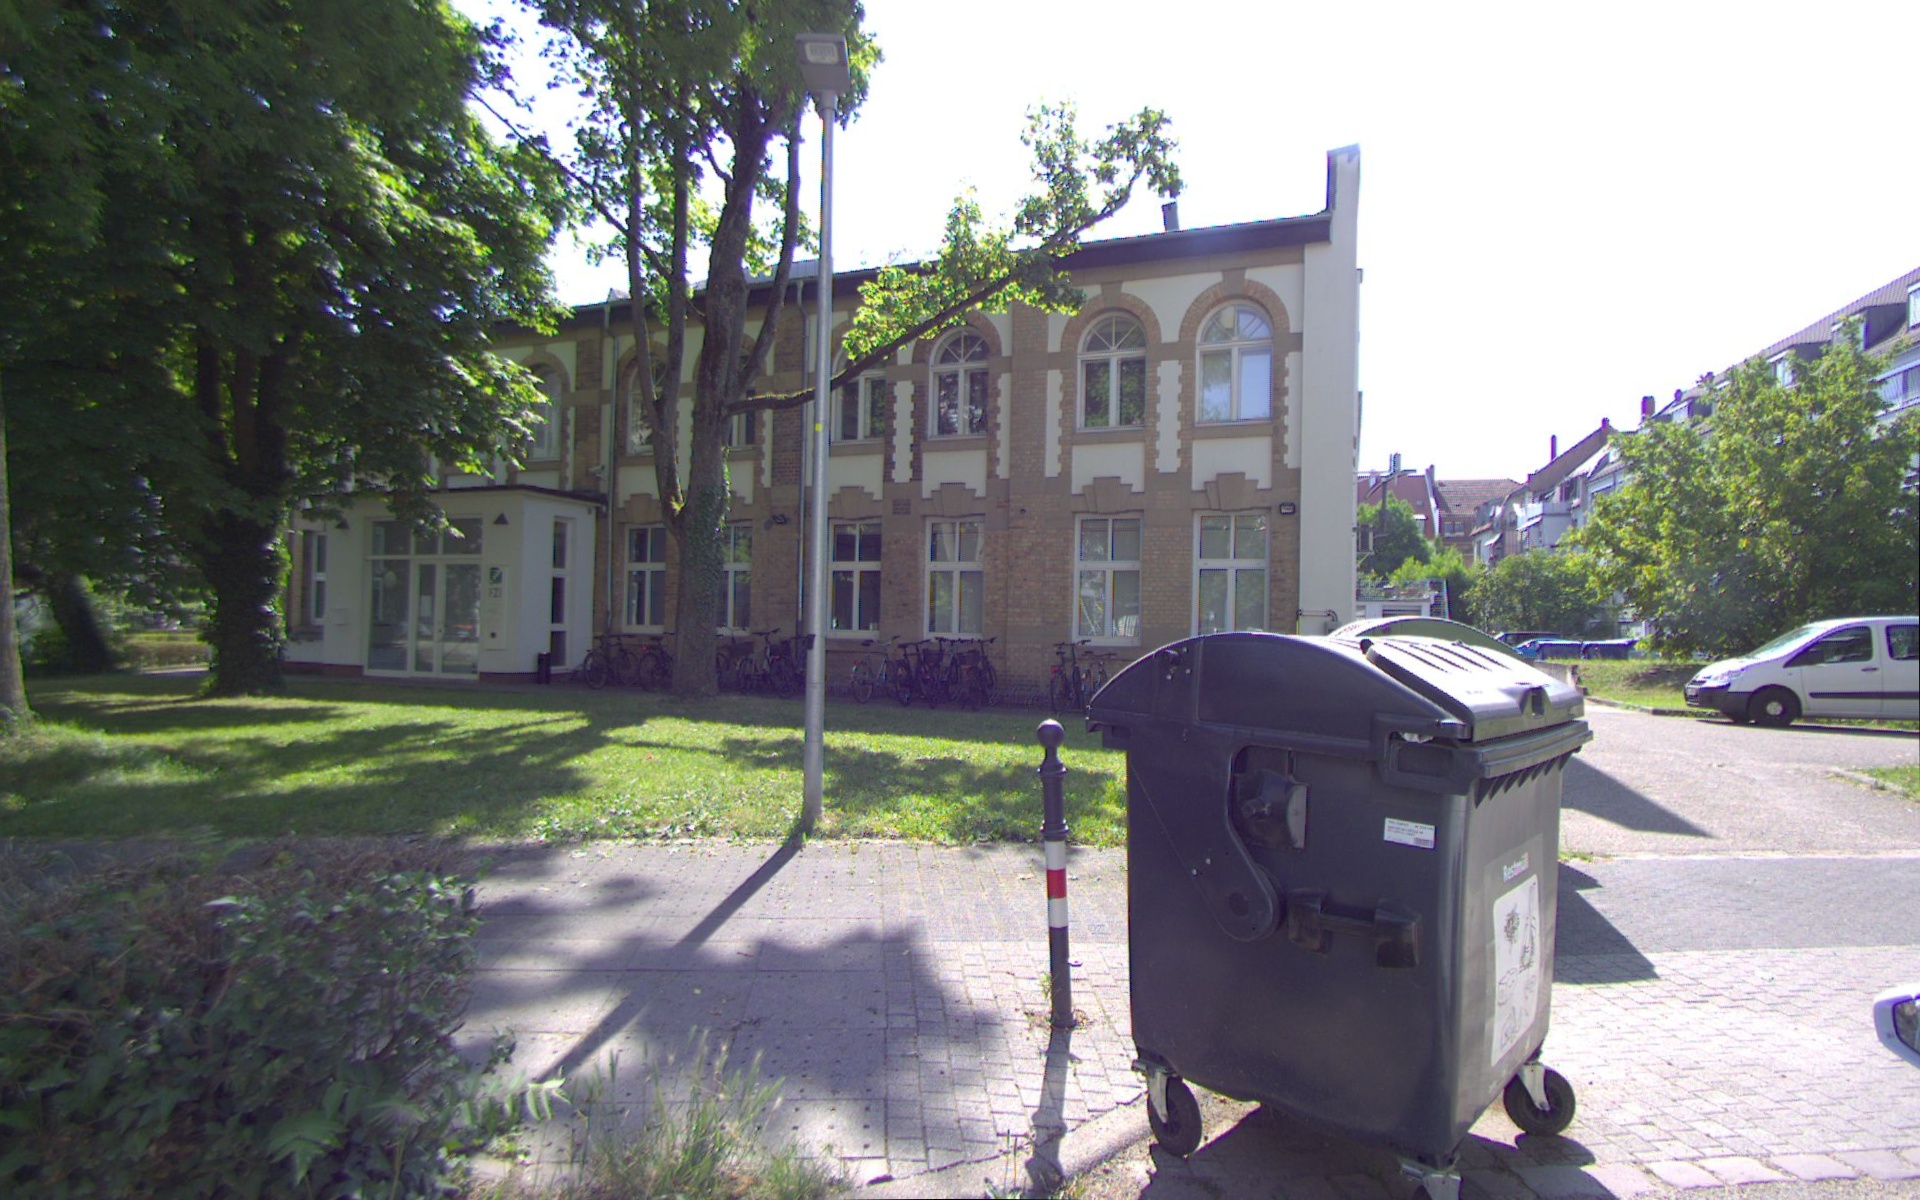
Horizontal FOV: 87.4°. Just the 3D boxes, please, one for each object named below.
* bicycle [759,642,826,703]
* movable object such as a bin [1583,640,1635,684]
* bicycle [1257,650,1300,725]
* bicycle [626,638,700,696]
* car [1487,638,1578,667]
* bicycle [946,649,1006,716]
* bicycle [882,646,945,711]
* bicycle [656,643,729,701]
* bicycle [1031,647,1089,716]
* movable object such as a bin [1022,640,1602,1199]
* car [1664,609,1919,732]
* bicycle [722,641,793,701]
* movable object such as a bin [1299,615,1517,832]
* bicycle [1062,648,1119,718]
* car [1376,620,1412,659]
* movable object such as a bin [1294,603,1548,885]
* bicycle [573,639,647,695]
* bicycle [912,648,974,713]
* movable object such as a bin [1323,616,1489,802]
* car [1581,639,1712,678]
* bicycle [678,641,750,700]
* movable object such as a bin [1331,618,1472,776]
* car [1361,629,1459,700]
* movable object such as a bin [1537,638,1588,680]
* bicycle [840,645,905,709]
[{"bbox_3d":[-2.959,1.271,17.865,0.437,1.005,1.540,0,-1,22],"label":"bicycle"},{"bbox_3d":[20.695,1.961,32.064,1.227,1.358,1.142,0,-2,24],"label":"movable object such as a bin"},{"bbox_3d":[4.767,1.279,14.995,0.437,1.005,1.629,0,-1,24],"label":"bicycle"},{"bbox_3d":[-5.523,1.235,18.773,0.437,1.005,1.540,0,-1,24],"label":"bicycle"},{"bbox_3d":[32.382,2.980,56.945,4.158,1.552,2.000,-1,-1,18],"label":"car"},{"bbox_3d":[0.288,1.335,16.632,0.437,1.005,1.540,0,-1,24],"label":"bicycle"},{"bbox_3d":[-0.766,1.304,17.049,0.437,1.005,1.540,0,-1,24],"label":"bicycle"},{"bbox_3d":[-4.928,1.311,18.607,0.367,1.002,1.599,0,-1,24],"label":"bicycle"},{"bbox_3d":[1.619,1.278,16.063,0.437,1.005,1.665,0,-1,24],"label":"bicycle"},{"bbox_3d":[1.094,0.839,2.983,1.229,1.415,1.398,0,-2,39],"label":"movable object such as a bin"},{"bbox_3d":[15.464,1.188,17.463,4.943,1.958,1.999,1,-1,23],"label":"car"},{"bbox_3d":[-3.612,1.251,18.014,0.437,1.005,1.540,0,-1,24],"label":"bicycle"},{"bbox_3d":[3.274,0.855,7.509,1.223,1.450,1.224,1,-1,10],"label":"movable object such as a bin"},{"bbox_3d":[2.085,1.287,15.902,0.437,1.005,1.684,0,-1,24],"label":"bicycle"},{"bbox_3d":[30.797,2.830,71.405,2.139,2.641,6.734,0,-3,21],"label":"car"},{"bbox_3d":[2.746,0.793,6.205,1.223,1.501,1.340,0,-1,16],"label":"movable object such as a bin"},{"bbox_3d":[-6.707,1.272,19.298,0.437,1.005,1.541,2,-2,19],"label":"bicycle"},{"bbox_3d":[-0.260,1.324,16.850,0.437,1.005,1.540,0,-1,24],"label":"bicycle"},{"bbox_3d":[3.833,0.886,8.779,1.224,1.450,1.366,0,-2,21],"label":"movable object such as a bin"},{"bbox_3d":[27.047,2.298,39.729,3.921,1.446,1.812,0,-2,19],"label":"car"},{"bbox_3d":[-4.485,1.274,18.437,0.437,1.005,1.540,0,-1,24],"label":"bicycle"},{"bbox_3d":[4.415,0.928,10.174,1.224,1.450,1.350,0,-2,21],"label":"movable object such as a bin"},{"bbox_3d":[10.640,1.537,24.009,1.807,1.460,4.431,2,-3,21],"label":"car"},{"bbox_3d":[19.568,1.938,32.643,1.227,1.336,1.142,-2,-4,23],"label":"movable object such as a bin"},{"bbox_3d":[-1.480,1.291,17.241,0.437,1.005,1.540,0,-1,24],"label":"bicycle"}]
